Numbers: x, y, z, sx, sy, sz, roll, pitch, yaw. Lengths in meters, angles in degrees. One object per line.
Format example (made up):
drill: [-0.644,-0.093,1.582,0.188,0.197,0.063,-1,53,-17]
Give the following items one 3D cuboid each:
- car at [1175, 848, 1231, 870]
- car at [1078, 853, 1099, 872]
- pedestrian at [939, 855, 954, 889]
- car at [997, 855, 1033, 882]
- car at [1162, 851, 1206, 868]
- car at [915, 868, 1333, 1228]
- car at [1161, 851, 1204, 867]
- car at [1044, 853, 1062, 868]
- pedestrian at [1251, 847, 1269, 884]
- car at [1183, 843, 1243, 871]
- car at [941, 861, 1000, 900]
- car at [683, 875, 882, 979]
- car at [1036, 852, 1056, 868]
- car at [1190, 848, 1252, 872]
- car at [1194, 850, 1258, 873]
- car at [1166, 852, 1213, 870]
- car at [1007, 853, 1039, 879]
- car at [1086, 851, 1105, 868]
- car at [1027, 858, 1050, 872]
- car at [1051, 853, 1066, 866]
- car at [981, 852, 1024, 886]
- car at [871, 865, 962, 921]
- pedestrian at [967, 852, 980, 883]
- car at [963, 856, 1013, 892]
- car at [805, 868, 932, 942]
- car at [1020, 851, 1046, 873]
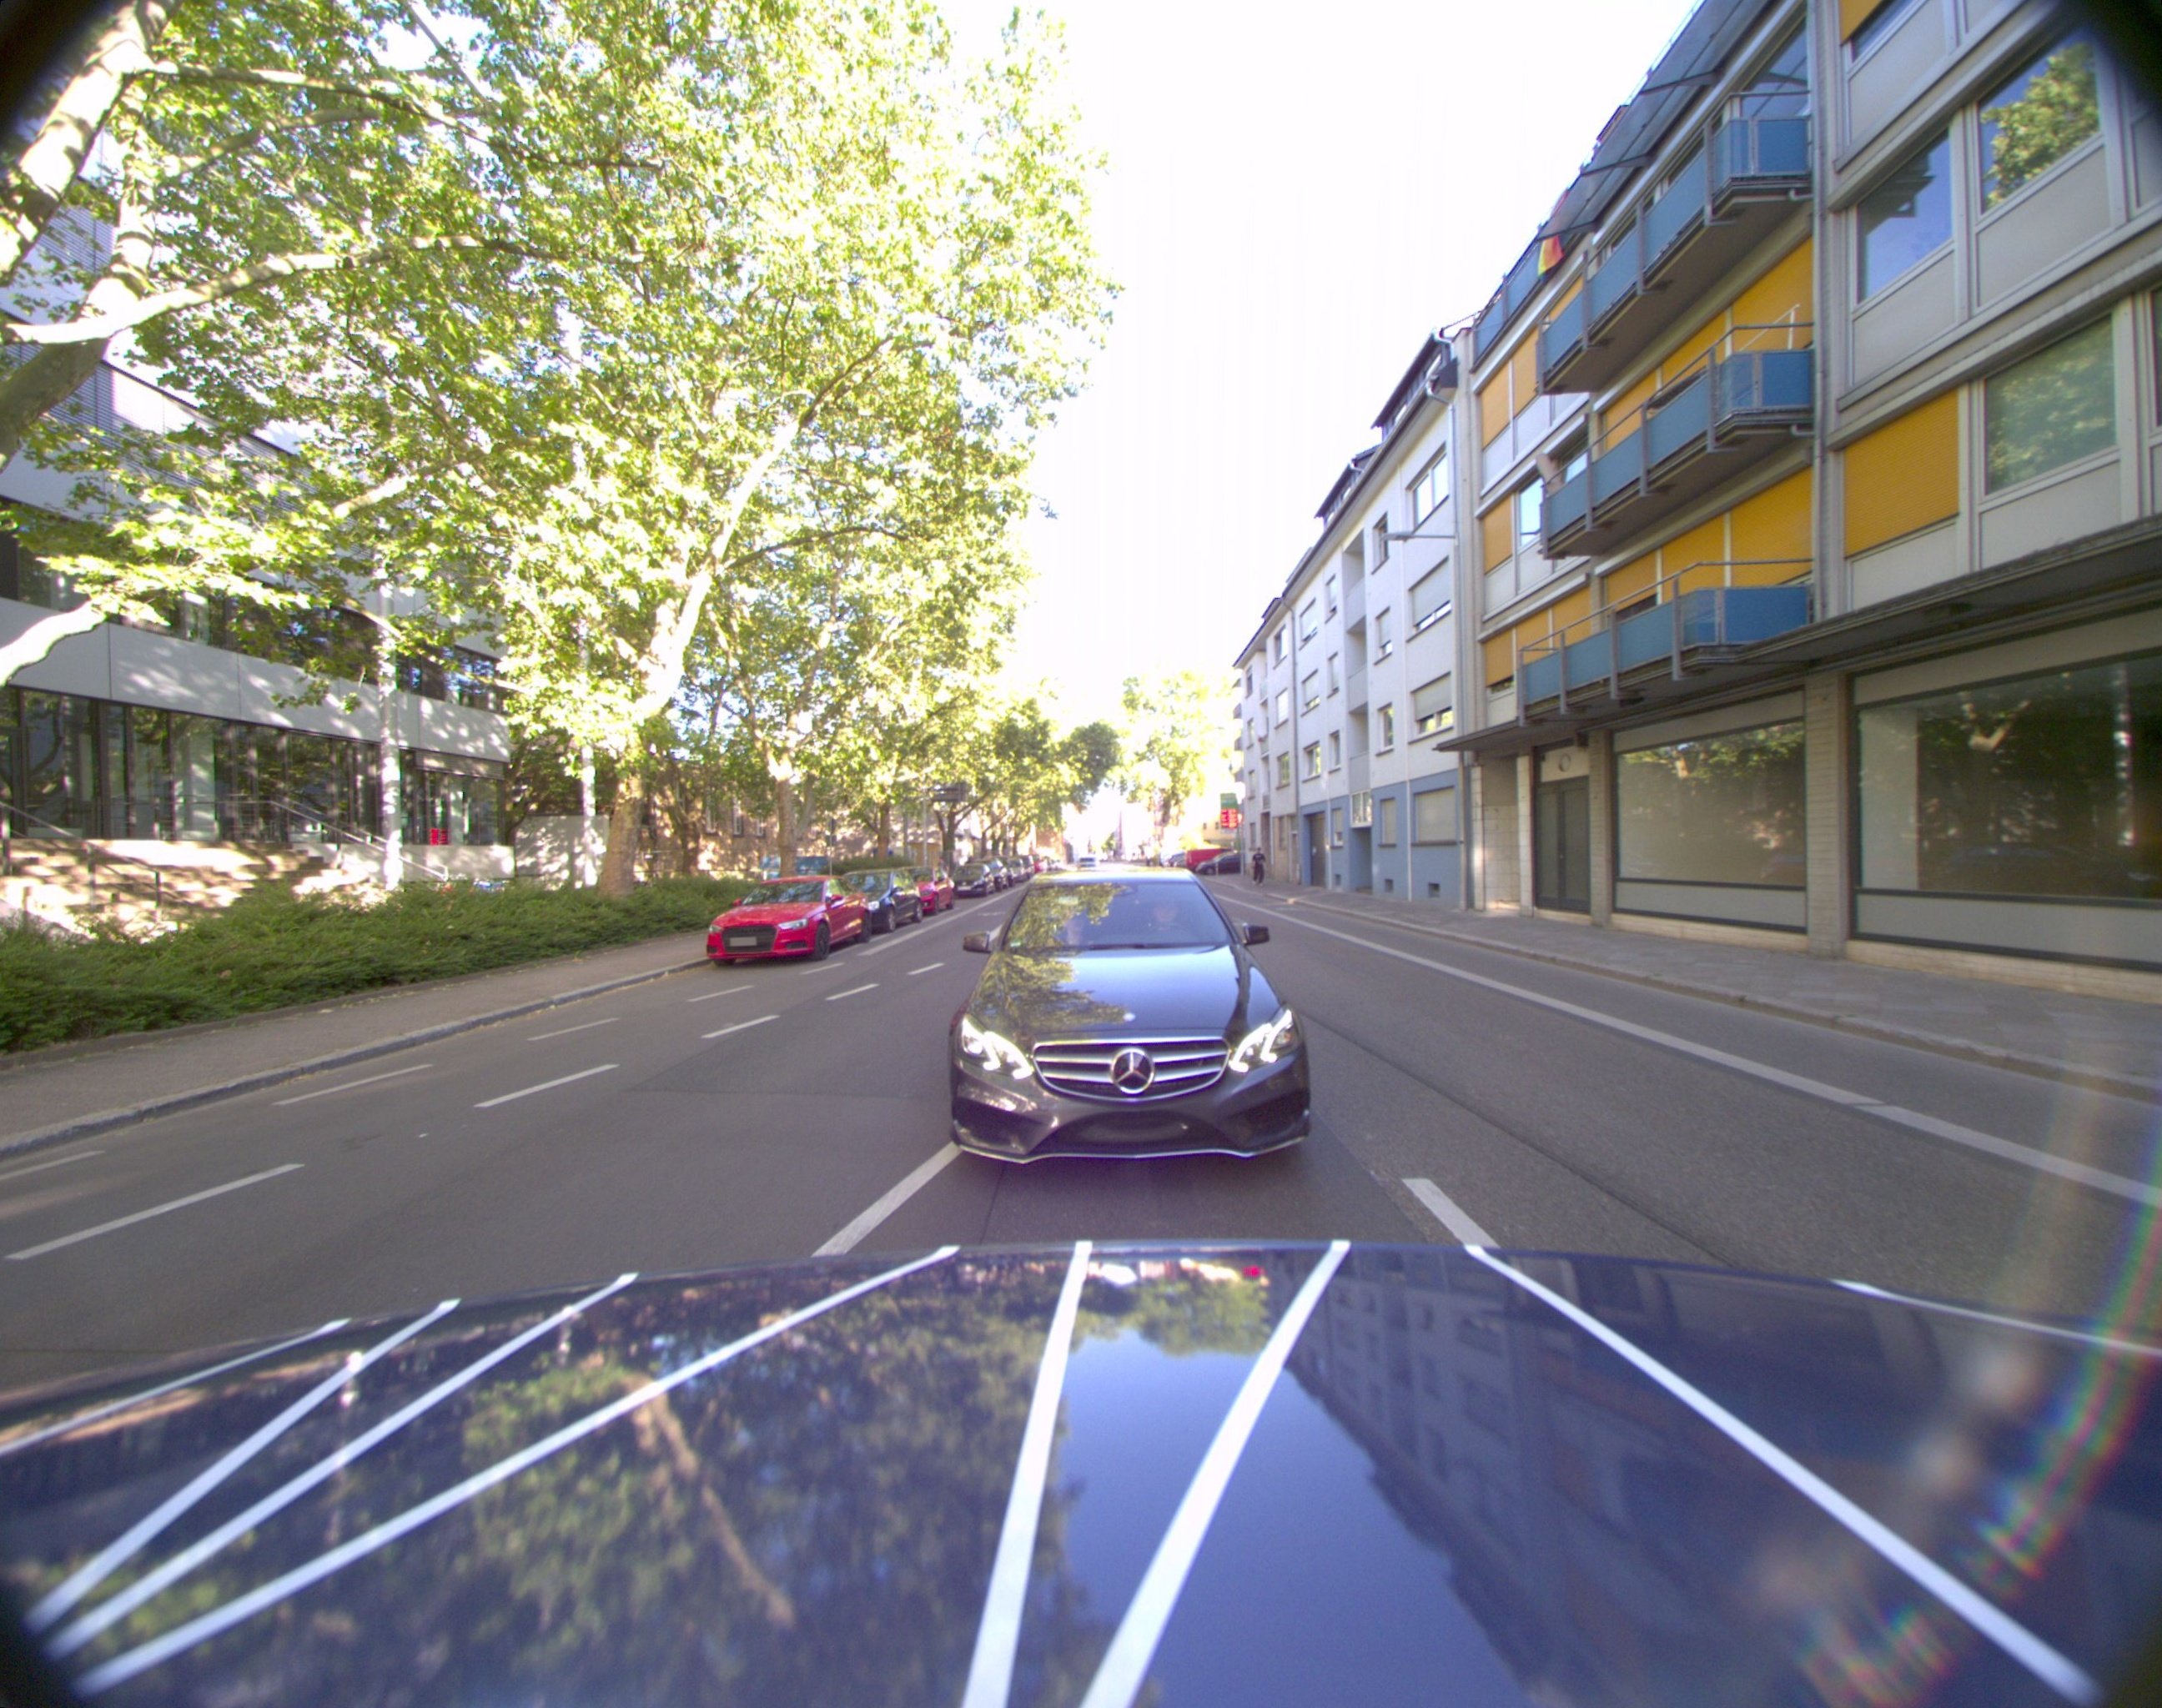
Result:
car: [10.053,0.414,62.716,4.255,1.461,1.653,-4,0,1]
car: [0.677,0.731,66.499,1.726,1.530,4.000,-1,0,1]
pedestrian: [-7.098,0.928,40.089,0.601,1.785,0.593,-2,1,0]
car: [-4.337,0.950,50.612,1.835,1.604,4.259,-2,0,1]
car: [10.604,0.546,78.655,4.255,1.461,1.653,-4,0,1]
car: [0.225,0.921,5.575,1.849,1.490,4.302,-1,0,1]
car: [10.775,0.521,80.619,4.255,1.461,1.653,-4,0,1]
car: [-3.410,0.791,92.847,1.835,1.667,4.259,-2,0,1]
pedestrian: [8.237,0.534,34.998,0.612,1.685,0.655,-2,1,1]
car: [10.416,0.228,60.134,4.255,1.907,1.818,-4,0,0]
car: [-4.745,1.107,33.181,1.835,1.459,4.168,-2,0,1]
car: [-5.129,1.180,13.774,1.835,1.396,4.247,-2,0,1]
car: [-3.938,0.672,86.231,1.835,1.667,4.259,-2,0,1]
car: [10.485,0.460,57.053,4.255,1.461,1.653,-4,0,1]
car: [10.401,0.524,54.752,4.255,1.392,1.653,-4,0,1]
car: [10.433,0.679,73.196,4.255,1.461,1.653,-4,0,1]
car: [-4.179,0.816,55.644,1.835,1.750,4.259,-2,0,1]
car: [1.549,0.555,82.235,1.908,1.678,4.813,-2,0,1]
car: [-3.989,1.030,71.792,1.835,1.220,4.259,-2,0,1]
car: [-3.045,0.689,102.953,1.835,1.667,4.259,-2,0,1]
car: [-4.509,0.826,44.119,1.835,1.787,4.463,-2,0,1]
car: [-5.042,1.138,23.845,1.835,1.459,4.168,-2,0,1]
pedestrian: [-6.532,0.826,46.311,0.660,1.849,0.641,-2,1,1]
car: [-4.596,0.968,38.079,1.835,1.596,4.161,-2,0,1]
car: [-5.040,1.153,18.635,1.835,1.438,4.168,-2,0,1]
car: [-4.145,0.686,66.351,1.835,1.839,4.259,-2,0,1]
